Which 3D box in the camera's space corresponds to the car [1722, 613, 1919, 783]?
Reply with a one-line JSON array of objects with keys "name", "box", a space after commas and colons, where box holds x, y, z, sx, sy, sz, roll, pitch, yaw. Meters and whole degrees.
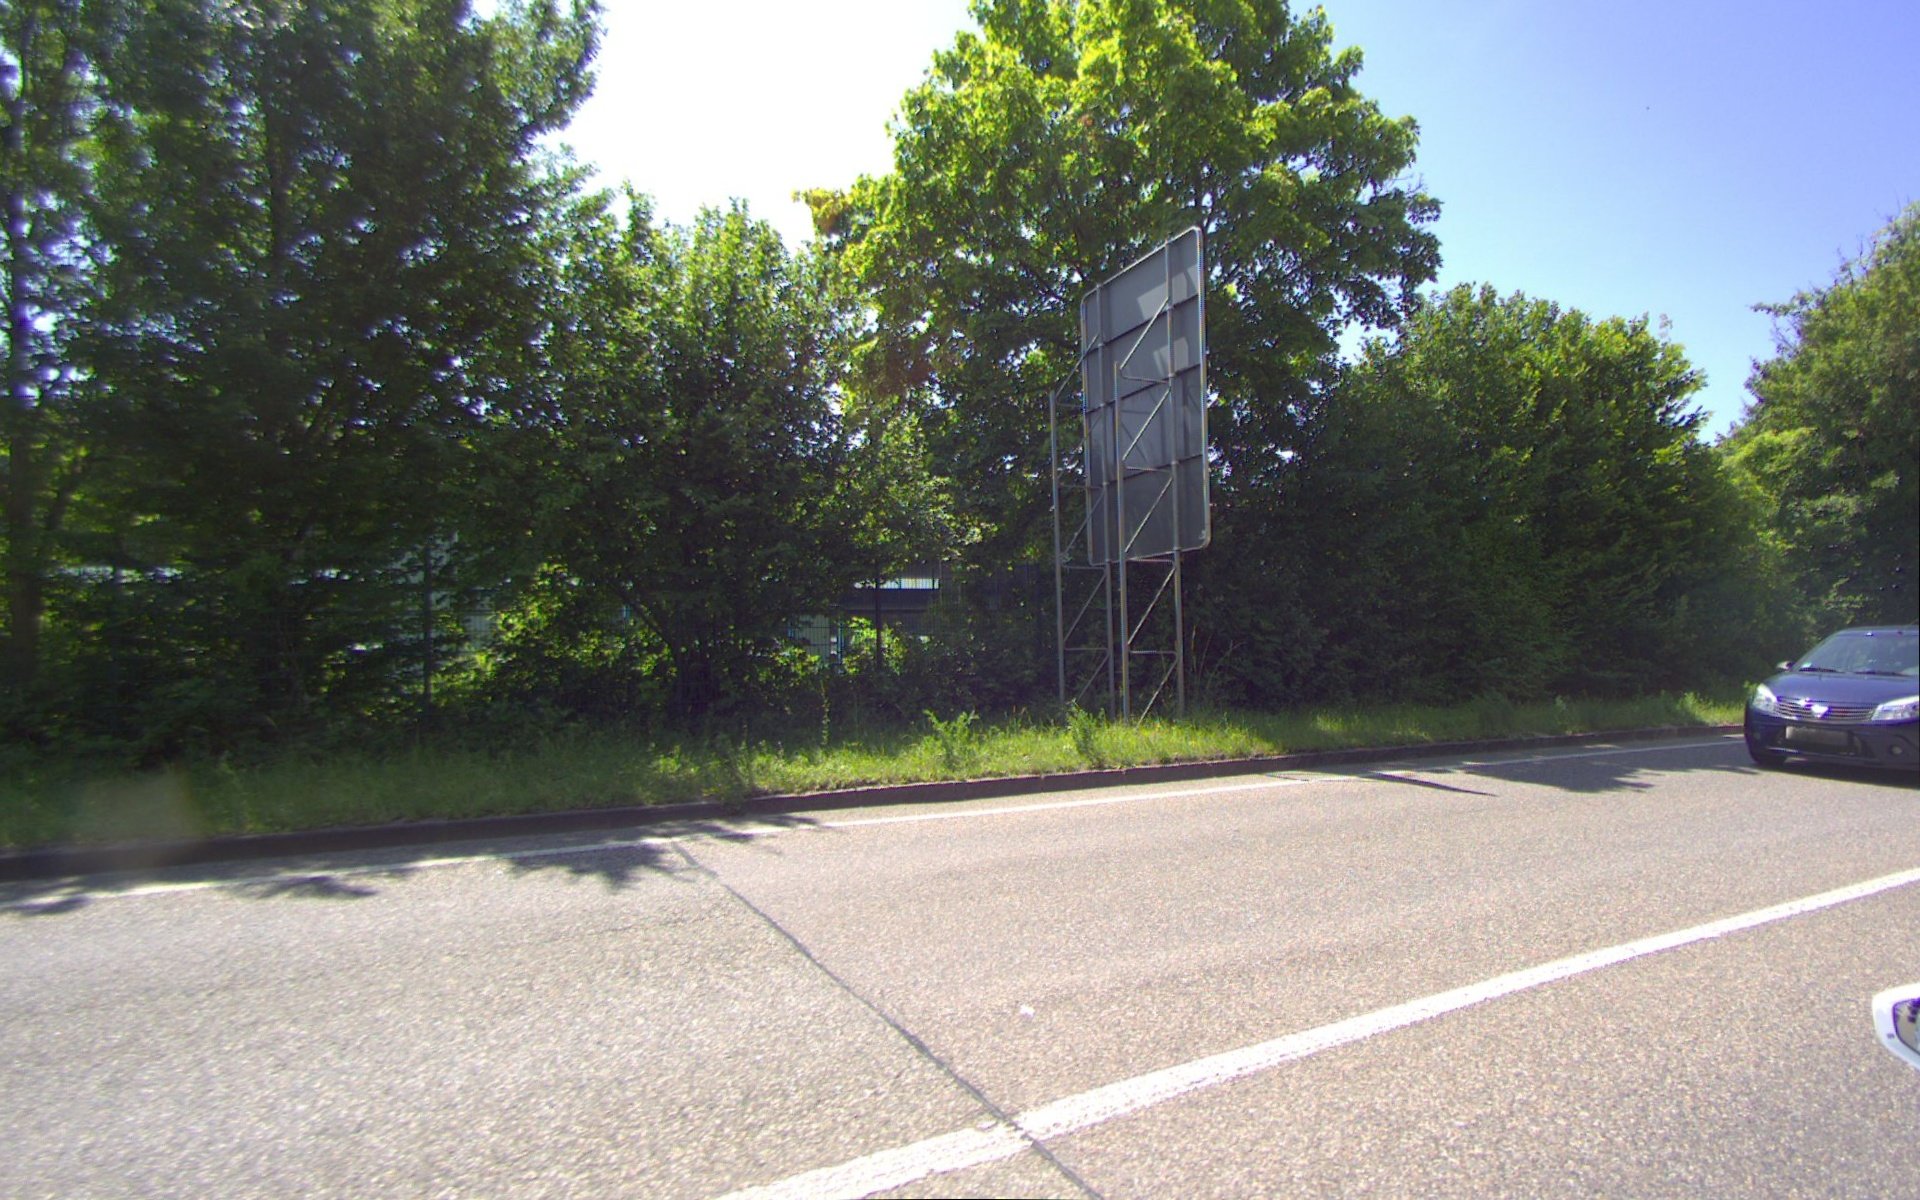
[{"name": "car", "box": [10.289, 0.946, 10.881, 4.018, 1.550, 1.677, 1, 0, -27]}]
